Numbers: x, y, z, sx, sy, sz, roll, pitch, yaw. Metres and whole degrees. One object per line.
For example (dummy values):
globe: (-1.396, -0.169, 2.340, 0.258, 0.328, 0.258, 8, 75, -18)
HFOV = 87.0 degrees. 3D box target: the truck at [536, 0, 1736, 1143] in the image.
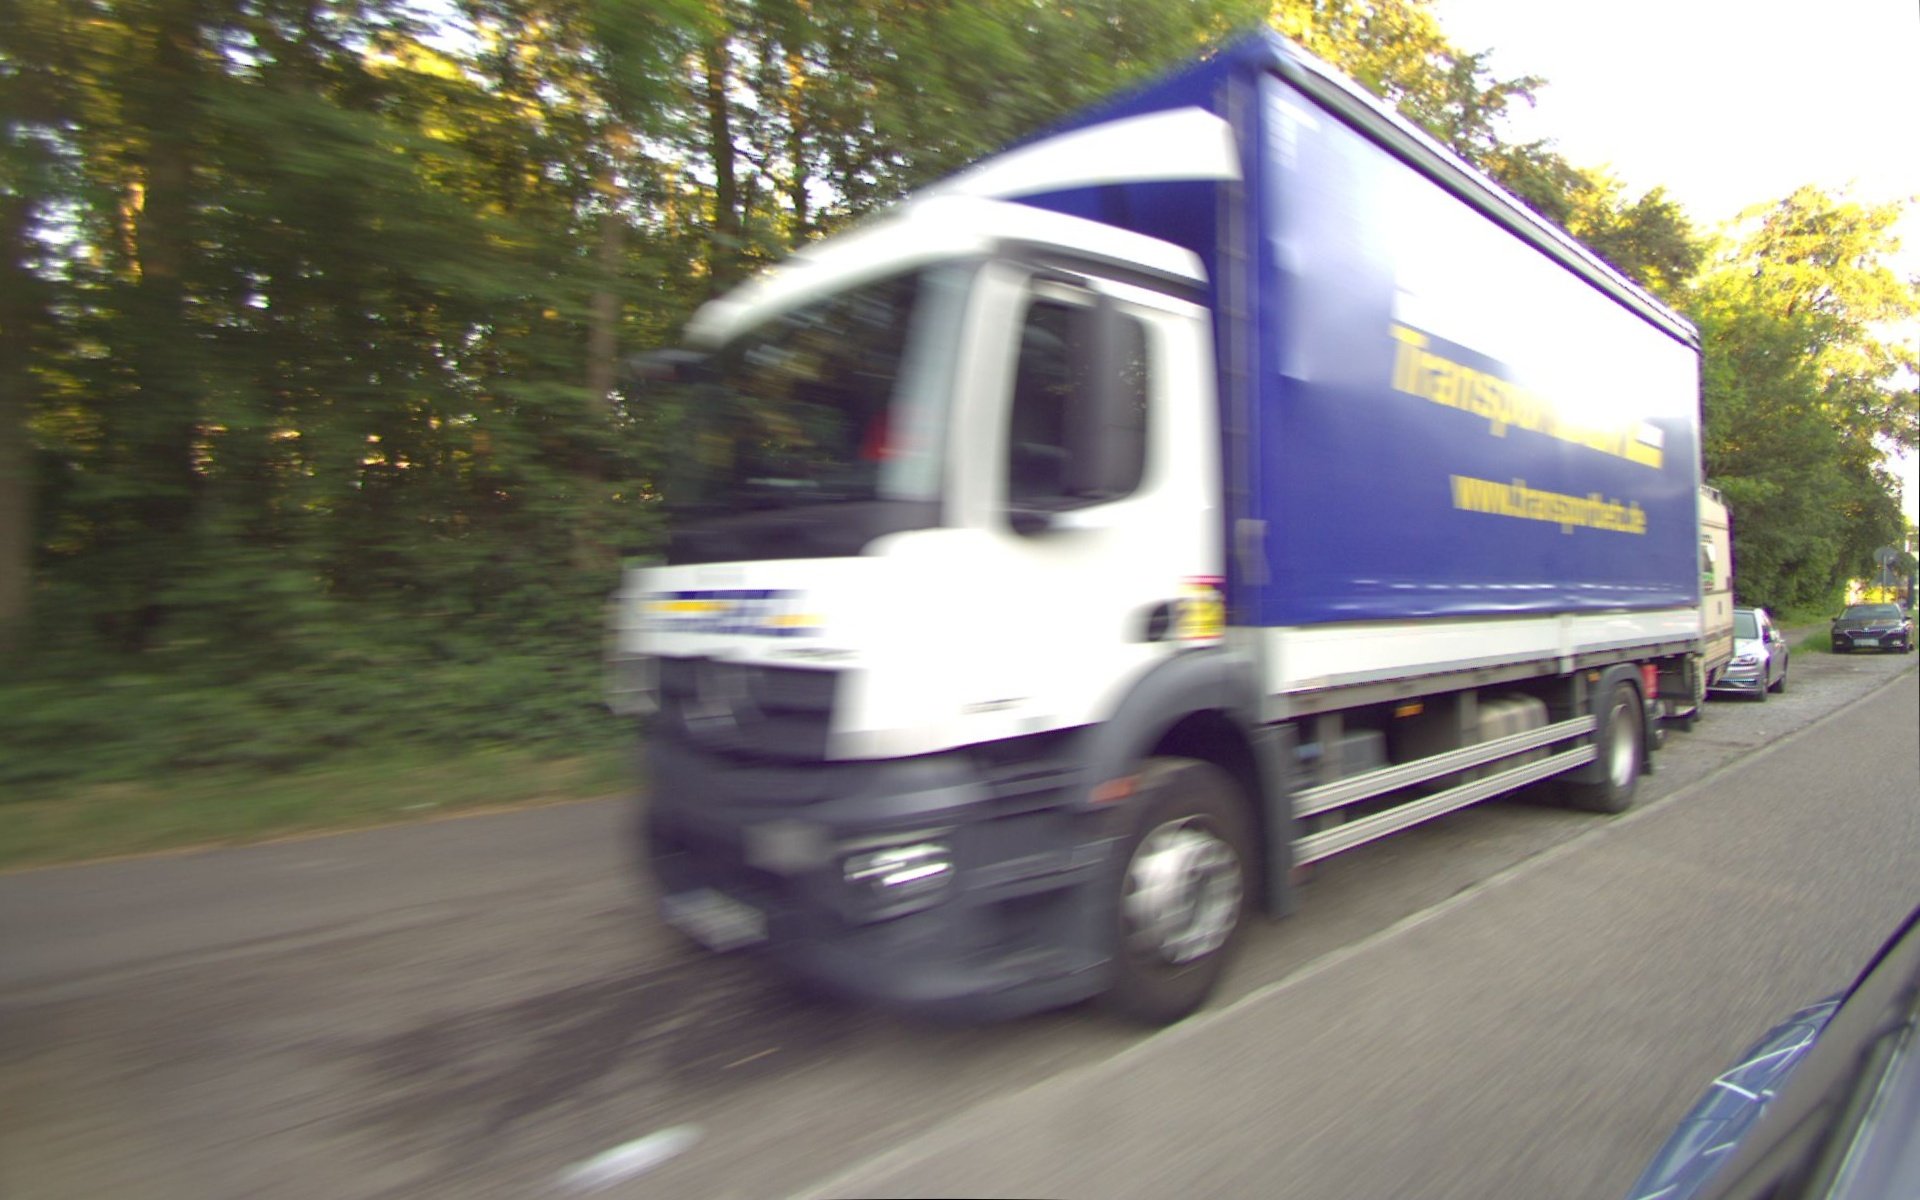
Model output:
truck: (2.470, -0.631, 6.884, 9.553, 4.078, 2.662, 0, 1, -41)

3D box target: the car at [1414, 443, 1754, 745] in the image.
car: (8.002, -0.109, 12.646, 2.409, 2.894, 5.837, 1, 1, 44)

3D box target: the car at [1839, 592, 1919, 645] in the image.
car: (27.024, 0.513, 29.528, 3.876, 1.423, 1.665, -1, -1, -43)

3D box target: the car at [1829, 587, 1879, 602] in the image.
car: (96.178, -0.618, 108.881, 3.987, 1.555, 1.636, 2, 2, 44)

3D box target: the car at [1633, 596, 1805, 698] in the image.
car: (12.646, 0.676, 16.774, 4.009, 1.423, 1.699, -1, 2, -45)
